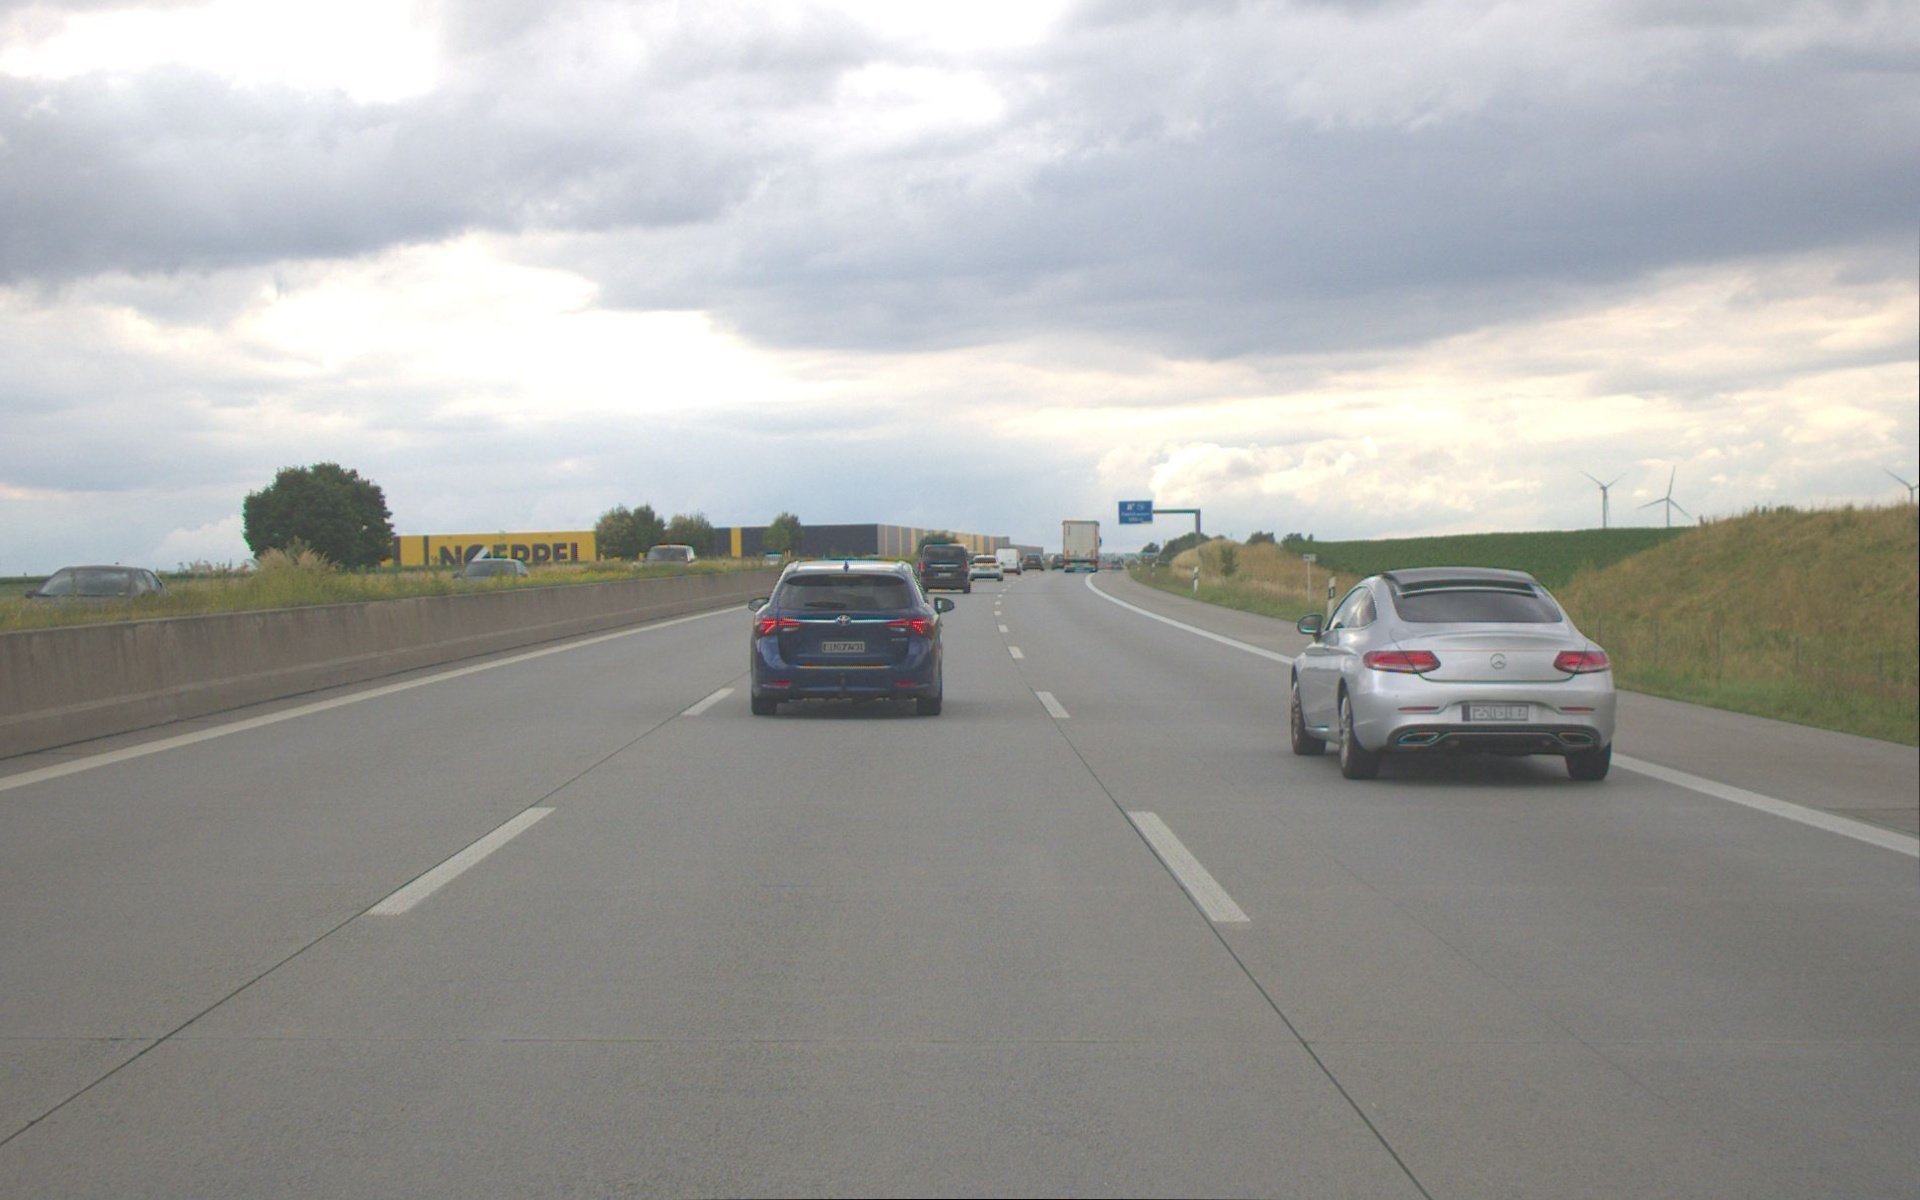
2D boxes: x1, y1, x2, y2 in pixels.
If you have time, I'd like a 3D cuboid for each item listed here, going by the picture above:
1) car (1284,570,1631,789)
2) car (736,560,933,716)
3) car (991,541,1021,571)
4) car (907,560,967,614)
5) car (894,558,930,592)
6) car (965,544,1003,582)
[{"bbox_3d":[3.388,0.492,24.146,1.788,1.399,4.221,0,0,0],"label":"car"},{"bbox_3d":[-1.214,0.328,33.010,1.774,1.408,4.000,0,0,-2],"label":"car"},{"bbox_3d":[3.203,-3.053,238.329,1.993,2.007,4.000,1,0,0],"label":"car"},{"bbox_3d":[-0.891,-0.494,131.837,1.993,2.007,4.001,1,0,-5],"label":"car"},{"bbox_3d":[-2.848,-1.465,203.337,2.046,2.007,4.000,1,0,0],"label":"car"},{"bbox_3d":[1.308,-2.013,188.481,1.993,2.007,4.000,1,1,1],"label":"car"}]
